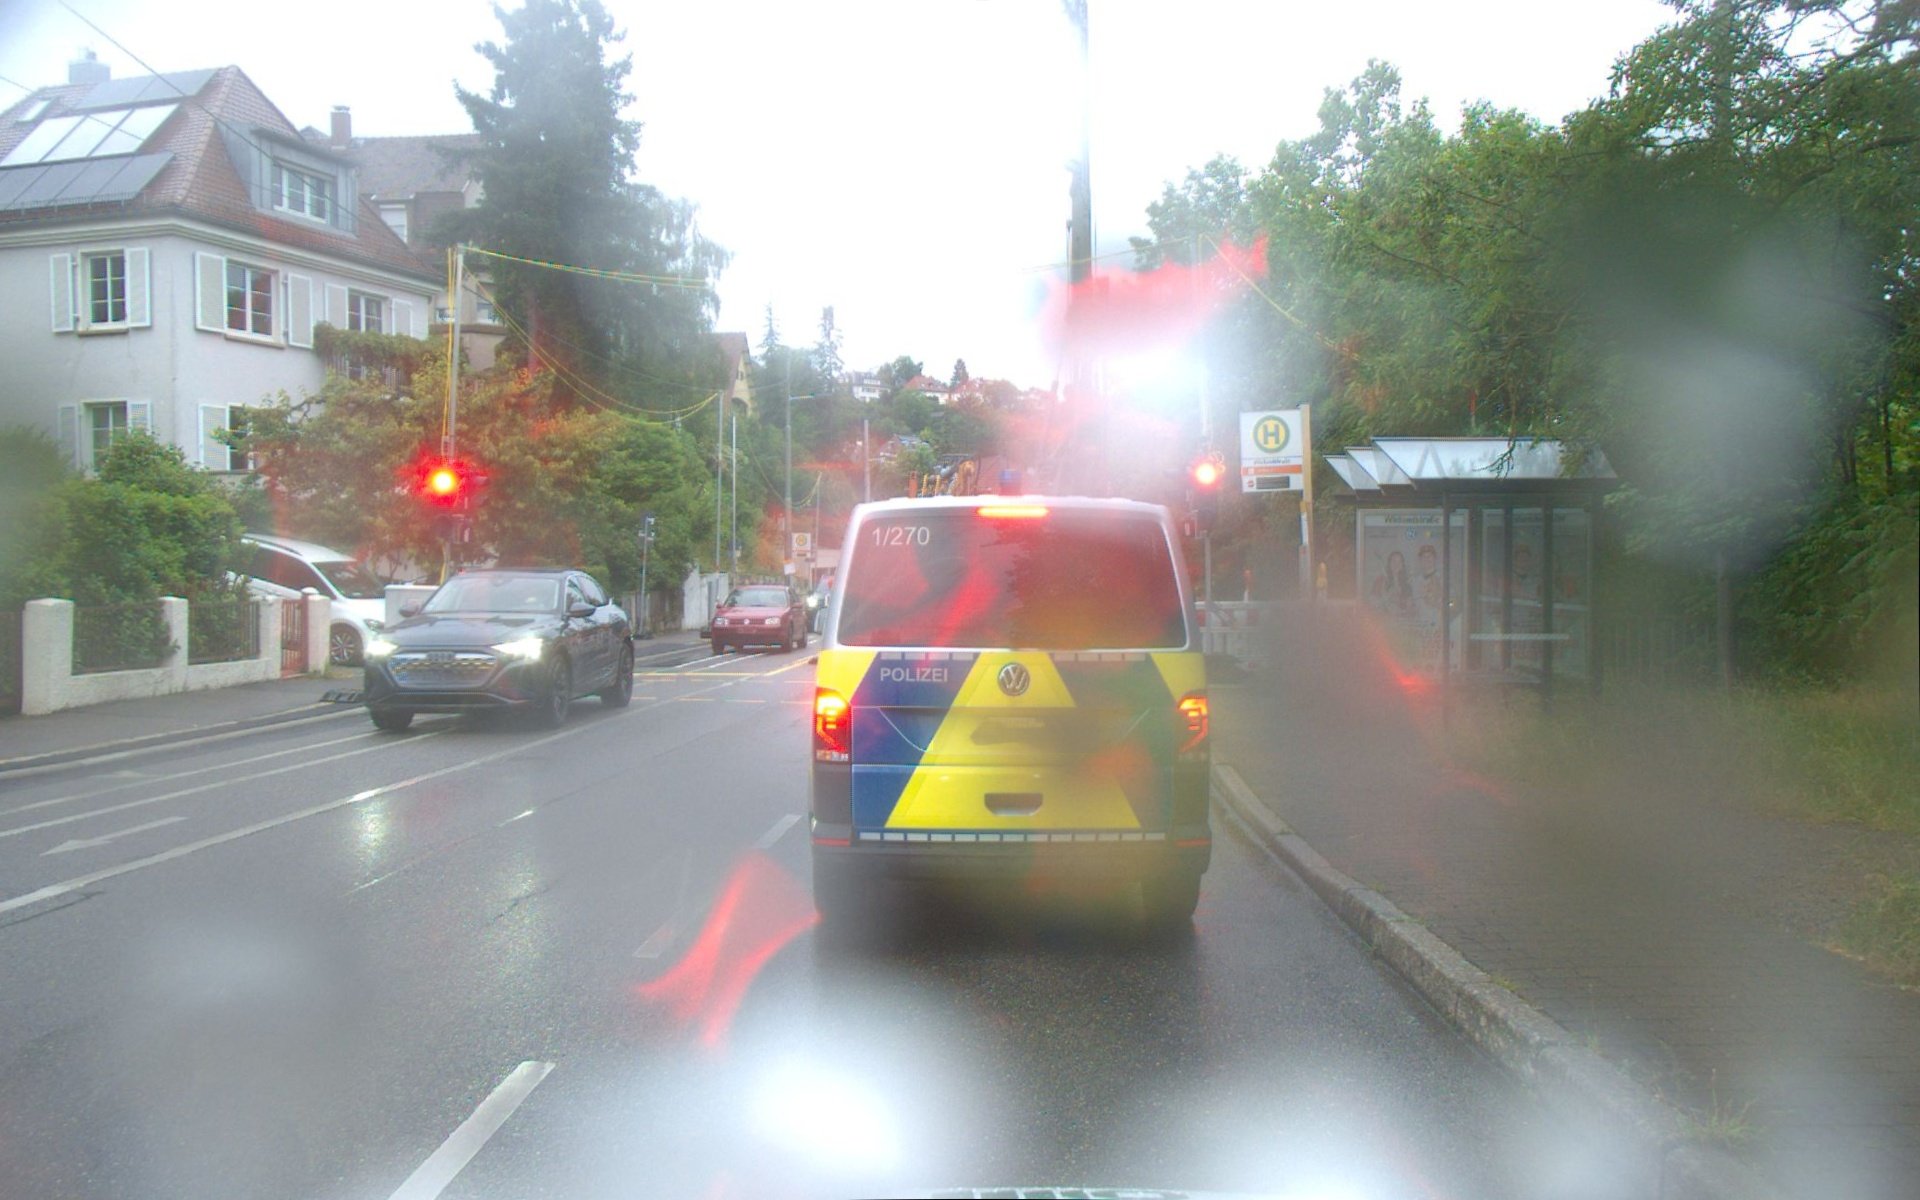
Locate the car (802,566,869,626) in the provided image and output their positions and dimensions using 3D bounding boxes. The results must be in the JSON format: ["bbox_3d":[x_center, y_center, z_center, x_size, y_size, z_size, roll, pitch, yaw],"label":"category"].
[{"bbox_3d":[-3.863,-0.140,52.026,1.939,1.778,4.551,1,1,-3],"label":"car"}]

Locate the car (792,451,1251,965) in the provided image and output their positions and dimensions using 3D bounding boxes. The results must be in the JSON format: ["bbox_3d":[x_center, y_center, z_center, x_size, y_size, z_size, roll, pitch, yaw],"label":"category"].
[{"bbox_3d":[0.228,0.433,8.808,1.855,2.086,3.999,1,0,-1],"label":"car"}]

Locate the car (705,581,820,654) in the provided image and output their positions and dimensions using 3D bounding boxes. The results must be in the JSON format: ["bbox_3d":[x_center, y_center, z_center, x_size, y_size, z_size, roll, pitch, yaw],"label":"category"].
[{"bbox_3d":[-4.290,0.343,36.484,1.727,1.488,3.889,1,1,5],"label":"car"}]

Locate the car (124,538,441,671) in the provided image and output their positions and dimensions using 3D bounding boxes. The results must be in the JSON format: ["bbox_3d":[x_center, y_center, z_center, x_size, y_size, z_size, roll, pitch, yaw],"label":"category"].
[{"bbox_3d":[-11.206,0.051,27.479,4.532,2.042,1.902,1,0,11],"label":"car"}]

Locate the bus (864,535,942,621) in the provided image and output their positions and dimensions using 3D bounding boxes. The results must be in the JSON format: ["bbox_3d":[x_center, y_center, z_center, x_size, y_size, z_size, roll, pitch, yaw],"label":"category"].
[{"bbox_3d":[-2.619,-1.040,79.617,2.782,3.783,12.009,1,0,2],"label":"bus"}]

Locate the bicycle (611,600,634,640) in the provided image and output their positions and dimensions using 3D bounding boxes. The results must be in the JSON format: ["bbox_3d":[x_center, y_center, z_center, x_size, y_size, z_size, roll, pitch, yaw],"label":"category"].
[{"bbox_3d":[-8.050,0.460,39.443,0.455,0.913,1.628,0,0,-15],"label":"bicycle"}]

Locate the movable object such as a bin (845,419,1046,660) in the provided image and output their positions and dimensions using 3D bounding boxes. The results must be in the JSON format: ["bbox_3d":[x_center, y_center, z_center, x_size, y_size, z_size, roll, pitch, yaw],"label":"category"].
[{"bbox_3d":[-0.163,-1.099,31.626,2.770,4.250,4.384,1,0,14],"label":"movable object such as a bin"}]

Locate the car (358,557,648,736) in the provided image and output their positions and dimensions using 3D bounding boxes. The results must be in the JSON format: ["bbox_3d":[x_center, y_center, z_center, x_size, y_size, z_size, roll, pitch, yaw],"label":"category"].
[{"bbox_3d":[-4.865,0.445,18.350,1.953,1.703,4.687,1,0,-1],"label":"car"}]
